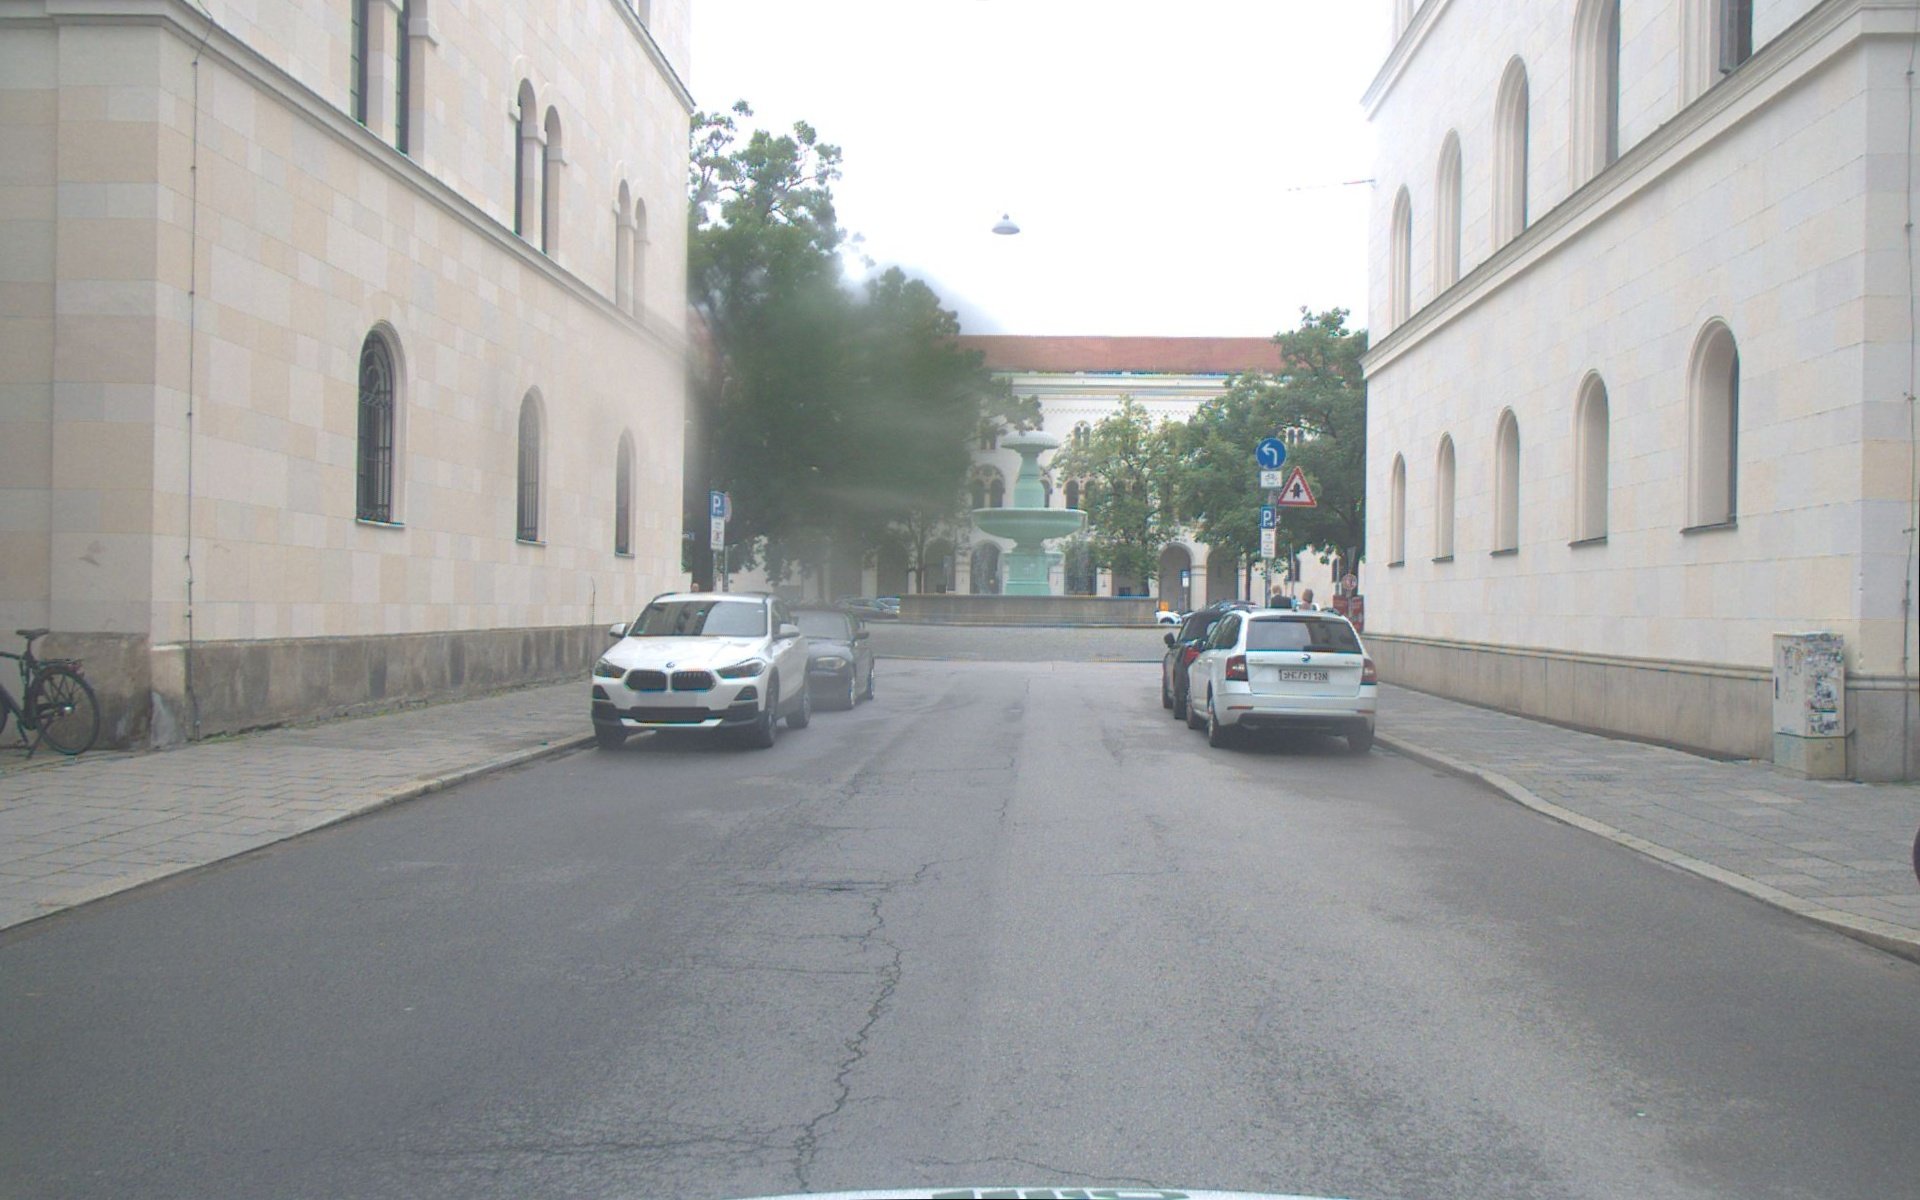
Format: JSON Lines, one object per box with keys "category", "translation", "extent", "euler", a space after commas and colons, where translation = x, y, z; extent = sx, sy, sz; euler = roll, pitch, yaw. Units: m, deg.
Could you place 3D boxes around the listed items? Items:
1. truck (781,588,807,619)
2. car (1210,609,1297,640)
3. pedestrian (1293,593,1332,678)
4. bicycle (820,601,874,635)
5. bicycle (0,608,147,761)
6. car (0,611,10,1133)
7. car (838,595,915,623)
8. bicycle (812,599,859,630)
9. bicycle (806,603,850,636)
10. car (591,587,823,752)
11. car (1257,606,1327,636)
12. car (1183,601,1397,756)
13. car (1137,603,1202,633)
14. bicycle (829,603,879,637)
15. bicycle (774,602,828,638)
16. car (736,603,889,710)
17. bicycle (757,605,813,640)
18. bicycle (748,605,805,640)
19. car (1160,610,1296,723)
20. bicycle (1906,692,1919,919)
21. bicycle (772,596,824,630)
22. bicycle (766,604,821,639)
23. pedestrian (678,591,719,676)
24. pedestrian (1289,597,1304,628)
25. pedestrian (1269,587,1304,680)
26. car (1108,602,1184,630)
{"category": "truck", "translation": [-14.240, 0.305, 141.882], "extent": [1.956, 2.532, 3.993], "euler": [1, 1, -8]}
{"category": "car", "translation": [15.147, 1.266, 85.568], "extent": [4.266, 1.551, 1.804], "euler": [0, 0, 4]}
{"category": "pedestrian", "translation": [7.178, 0.714, 33.662], "extent": [0.608, 1.711, 0.545], "euler": [2, 0, -3]}
{"category": "bicycle", "translation": [-3.837, 0.605, 56.270], "extent": [1.673, 1.118, 0.699], "euler": [1, 0, 14]}
{"category": "bicycle", "translation": [-7.522, 0.671, 13.480], "extent": [1.675, 1.198, 0.476], "euler": [0, 0, 12]}
{"category": "car", "translation": [-3.416, 0.710, 2.388], "extent": [1.714, 1.479, 4.016], "euler": [-1, 1, 1]}
{"category": "car", "translation": [-4.354, 0.474, 86.719], "extent": [3.904, 1.400, 2.000], "euler": [0, 0, 1]}
{"category": "bicycle", "translation": [-4.433, 0.518, 58.945], "extent": [1.503, 1.037, 0.699], "euler": [1, 0, 14]}
{"category": "bicycle", "translation": [-4.625, 0.695, 58.112], "extent": [1.371, 1.118, 0.657], "euler": [1, 0, 14]}
{"category": "car", "translation": [-2.609, 0.692, 17.985], "extent": [1.741, 1.562, 4.212], "euler": [-1, -1, 2]}
{"category": "car", "translation": [20.776, 1.319, 103.622], "extent": [4.014, 1.771, 1.746], "euler": [1, 0, -1]}
{"category": "car", "translation": [3.568, 0.779, 18.599], "extent": [1.752, 1.502, 4.315], "euler": [1, 0, 3]}
{"category": "car", "translation": [13.149, 1.130, 104.086], "extent": [3.904, 1.780, 1.809], "euler": [1, 0, 2]}
{"category": "bicycle", "translation": [-3.648, 0.678, 56.967], "extent": [1.584, 1.118, 0.617], "euler": [1, 0, 14]}
{"category": "bicycle", "translation": [-5.180, 0.645, 53.875], "extent": [1.584, 1.118, 0.699], "euler": [1, 0, 14]}
{"category": "car", "translation": [-2.079, 0.784, 24.408], "extent": [1.663, 1.417, 4.213], "euler": [-1, -1, 3]}
{"category": "bicycle", "translation": [-5.534, 0.693, 52.327], "extent": [1.584, 1.054, 0.699], "euler": [1, 0, 14]}
{"category": "bicycle", "translation": [-5.724, 0.695, 51.600], "extent": [1.584, 1.054, 0.699], "euler": [1, 0, 14]}
{"category": "car", "translation": [3.721, 0.873, 23.432], "extent": [1.508, 1.451, 3.773], "euler": [1, 0, 3]}
{"category": "bicycle", "translation": [4.774, 0.960, 7.027], "extent": [0.341, 1.060, 1.632], "euler": [-2, 0, -9]}
{"category": "bicycle", "translation": [-5.489, 0.438, 55.904], "extent": [1.584, 1.118, 0.699], "euler": [1, 0, 14]}
{"category": "bicycle", "translation": [-5.337, 0.679, 53.128], "extent": [1.584, 1.054, 0.699], "euler": [1, 0, 14]}
{"category": "pedestrian", "translation": [-5.520, 0.691, 34.964], "extent": [0.739, 1.780, 0.690], "euler": [0, 0, 1]}
{"category": "pedestrian", "translation": [16.038, 0.599, 78.870], "extent": [0.570, 1.491, 0.547], "euler": [0, 0, 26]}
{"category": "pedestrian", "translation": [6.544, 0.662, 33.159], "extent": [0.628, 1.840, 0.489], "euler": [1, 0, 8]}
{"category": "car", "translation": [9.638, 0.824, 86.085], "extent": [3.903, 1.427, 1.825], "euler": [0, 0, 5]}
